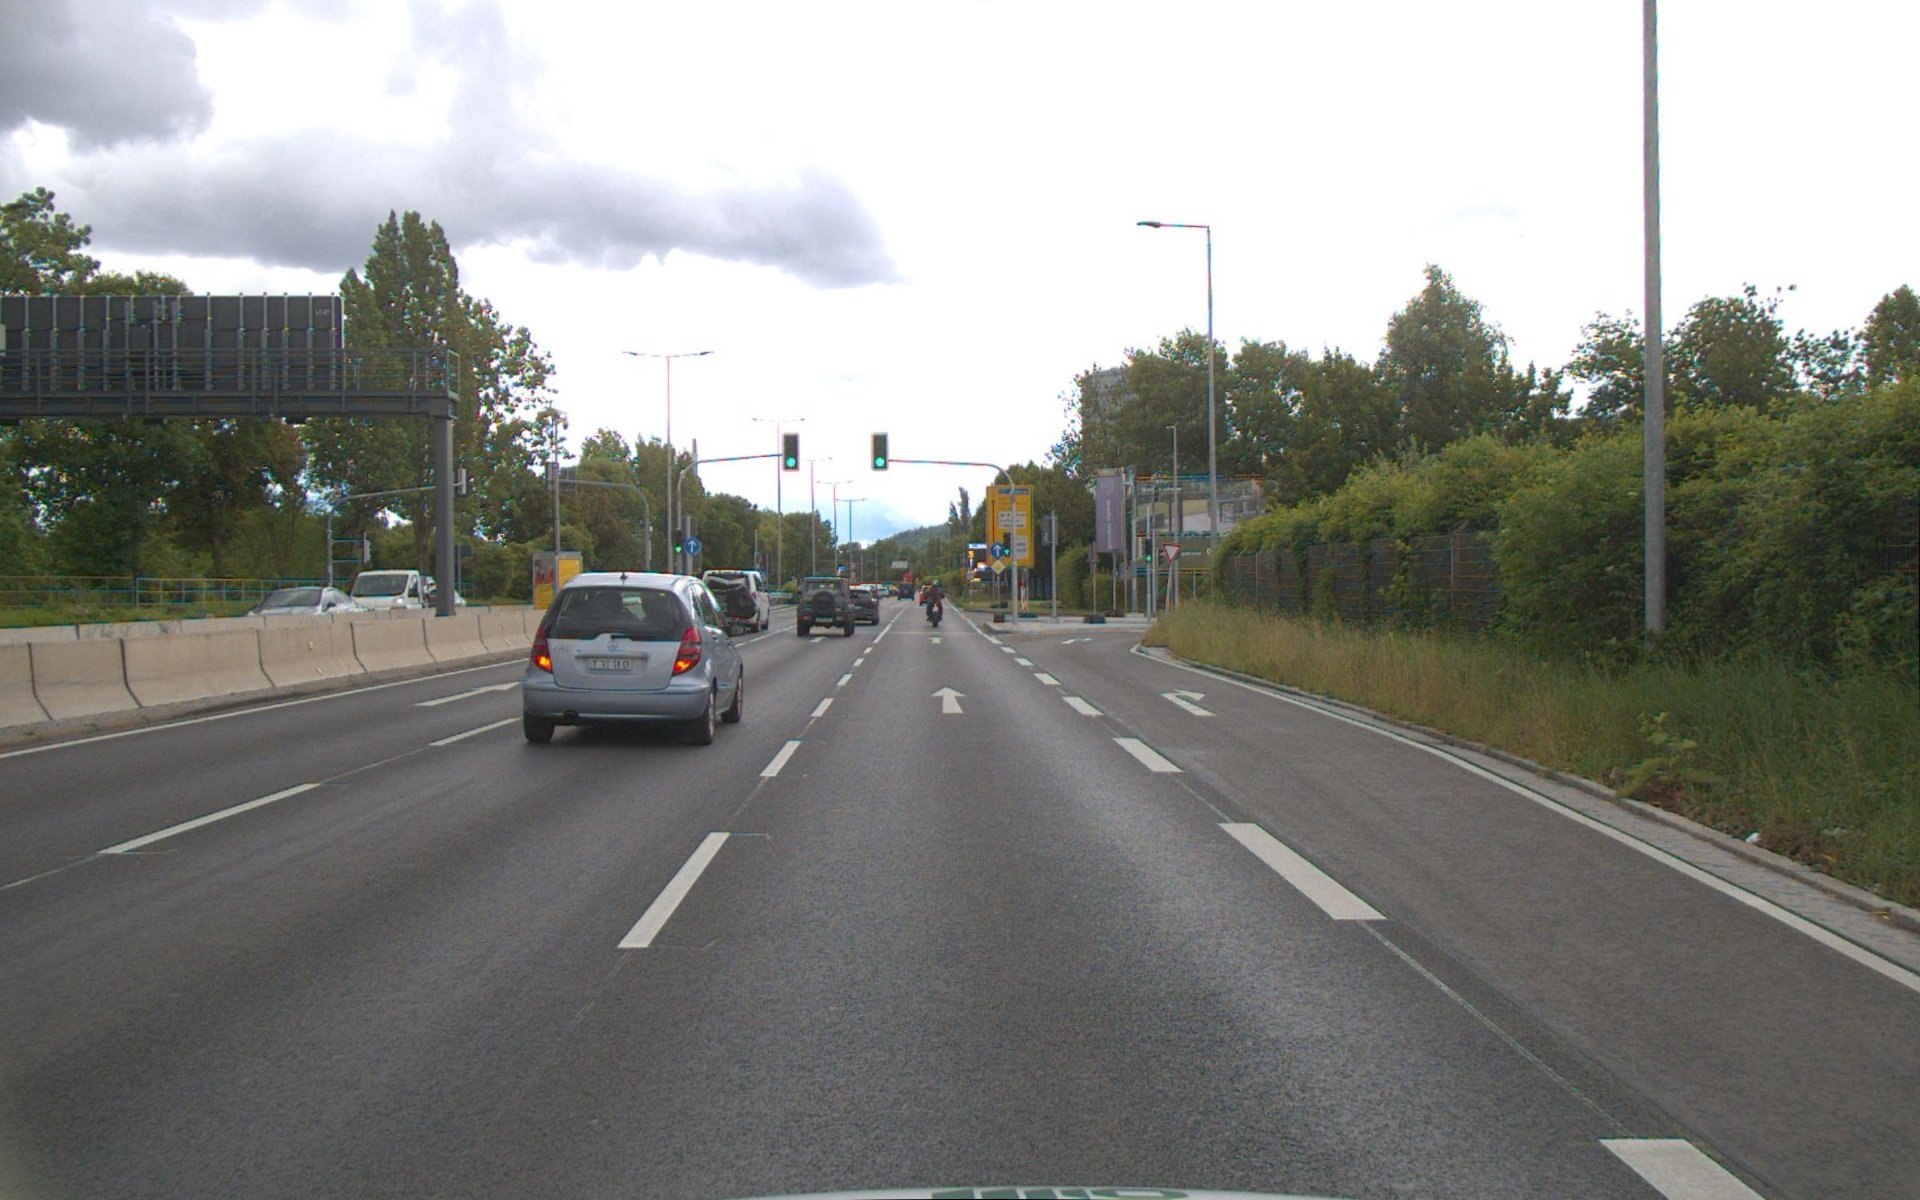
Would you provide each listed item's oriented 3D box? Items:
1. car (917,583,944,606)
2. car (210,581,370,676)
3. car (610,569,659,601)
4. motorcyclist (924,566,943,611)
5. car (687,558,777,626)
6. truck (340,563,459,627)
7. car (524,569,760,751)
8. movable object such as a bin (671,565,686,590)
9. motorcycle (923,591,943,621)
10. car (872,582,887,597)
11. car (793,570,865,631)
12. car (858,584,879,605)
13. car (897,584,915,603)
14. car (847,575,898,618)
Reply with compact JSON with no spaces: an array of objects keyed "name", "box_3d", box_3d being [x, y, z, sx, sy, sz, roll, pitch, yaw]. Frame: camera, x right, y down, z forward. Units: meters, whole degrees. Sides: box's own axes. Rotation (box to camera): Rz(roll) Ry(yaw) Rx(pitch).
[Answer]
[{"name":"car","box_3d":[-2.273,-0.440,128.019,1.954,1.579,3.999,2,1,-3]},{"name":"car","box_3d":[-15.890,0.612,39.504,1.953,2.048,4.680,2,1,-1]},{"name":"car","box_3d":[-18.268,-0.868,93.003,1.953,1.713,4.411,2,1,-2]},{"name":"motorcyclist","box_3d":[-0.982,-0.440,61.343,0.671,1.638,0.845,2,1,0]},{"name":"car","box_3d":[-7.019,-0.295,51.440,2.170,1.959,5.001,2,1,-2]},{"name":"truck","box_3d":[-19.291,-0.232,57.268,2.160,2.048,6.300,2,1,-2]},{"name":"car","box_3d":[-3.063,0.495,16.667,1.676,1.556,3.999,2,1,-2]},{"name":"movable object such as a bin","box_3d":[-12.474,-1.007,73.328,0.530,1.077,0.740,2,1,-1]},{"name":"motorcycle","box_3d":[-0.993,0.224,61.413,0.692,1.058,2.027,2,1,0]},{"name":"car","box_3d":[-11.415,-1.535,235.114,1.953,2.048,4.000,2,1,-1]},{"name":"car","box_3d":[-3.902,-0.022,49.731,1.869,1.713,4.000,2,1,-1]},{"name":"car","box_3d":[-9.134,-0.568,165.528,1.953,2.048,4.000,2,1,-1]},{"name":"car","box_3d":[-6.200,-0.736,190.350,1.953,2.048,4.000,2,1,-1]},{"name":"car","box_3d":[-3.337,-0.160,63.597,1.803,1.489,3.999,2,1,-2]}]
